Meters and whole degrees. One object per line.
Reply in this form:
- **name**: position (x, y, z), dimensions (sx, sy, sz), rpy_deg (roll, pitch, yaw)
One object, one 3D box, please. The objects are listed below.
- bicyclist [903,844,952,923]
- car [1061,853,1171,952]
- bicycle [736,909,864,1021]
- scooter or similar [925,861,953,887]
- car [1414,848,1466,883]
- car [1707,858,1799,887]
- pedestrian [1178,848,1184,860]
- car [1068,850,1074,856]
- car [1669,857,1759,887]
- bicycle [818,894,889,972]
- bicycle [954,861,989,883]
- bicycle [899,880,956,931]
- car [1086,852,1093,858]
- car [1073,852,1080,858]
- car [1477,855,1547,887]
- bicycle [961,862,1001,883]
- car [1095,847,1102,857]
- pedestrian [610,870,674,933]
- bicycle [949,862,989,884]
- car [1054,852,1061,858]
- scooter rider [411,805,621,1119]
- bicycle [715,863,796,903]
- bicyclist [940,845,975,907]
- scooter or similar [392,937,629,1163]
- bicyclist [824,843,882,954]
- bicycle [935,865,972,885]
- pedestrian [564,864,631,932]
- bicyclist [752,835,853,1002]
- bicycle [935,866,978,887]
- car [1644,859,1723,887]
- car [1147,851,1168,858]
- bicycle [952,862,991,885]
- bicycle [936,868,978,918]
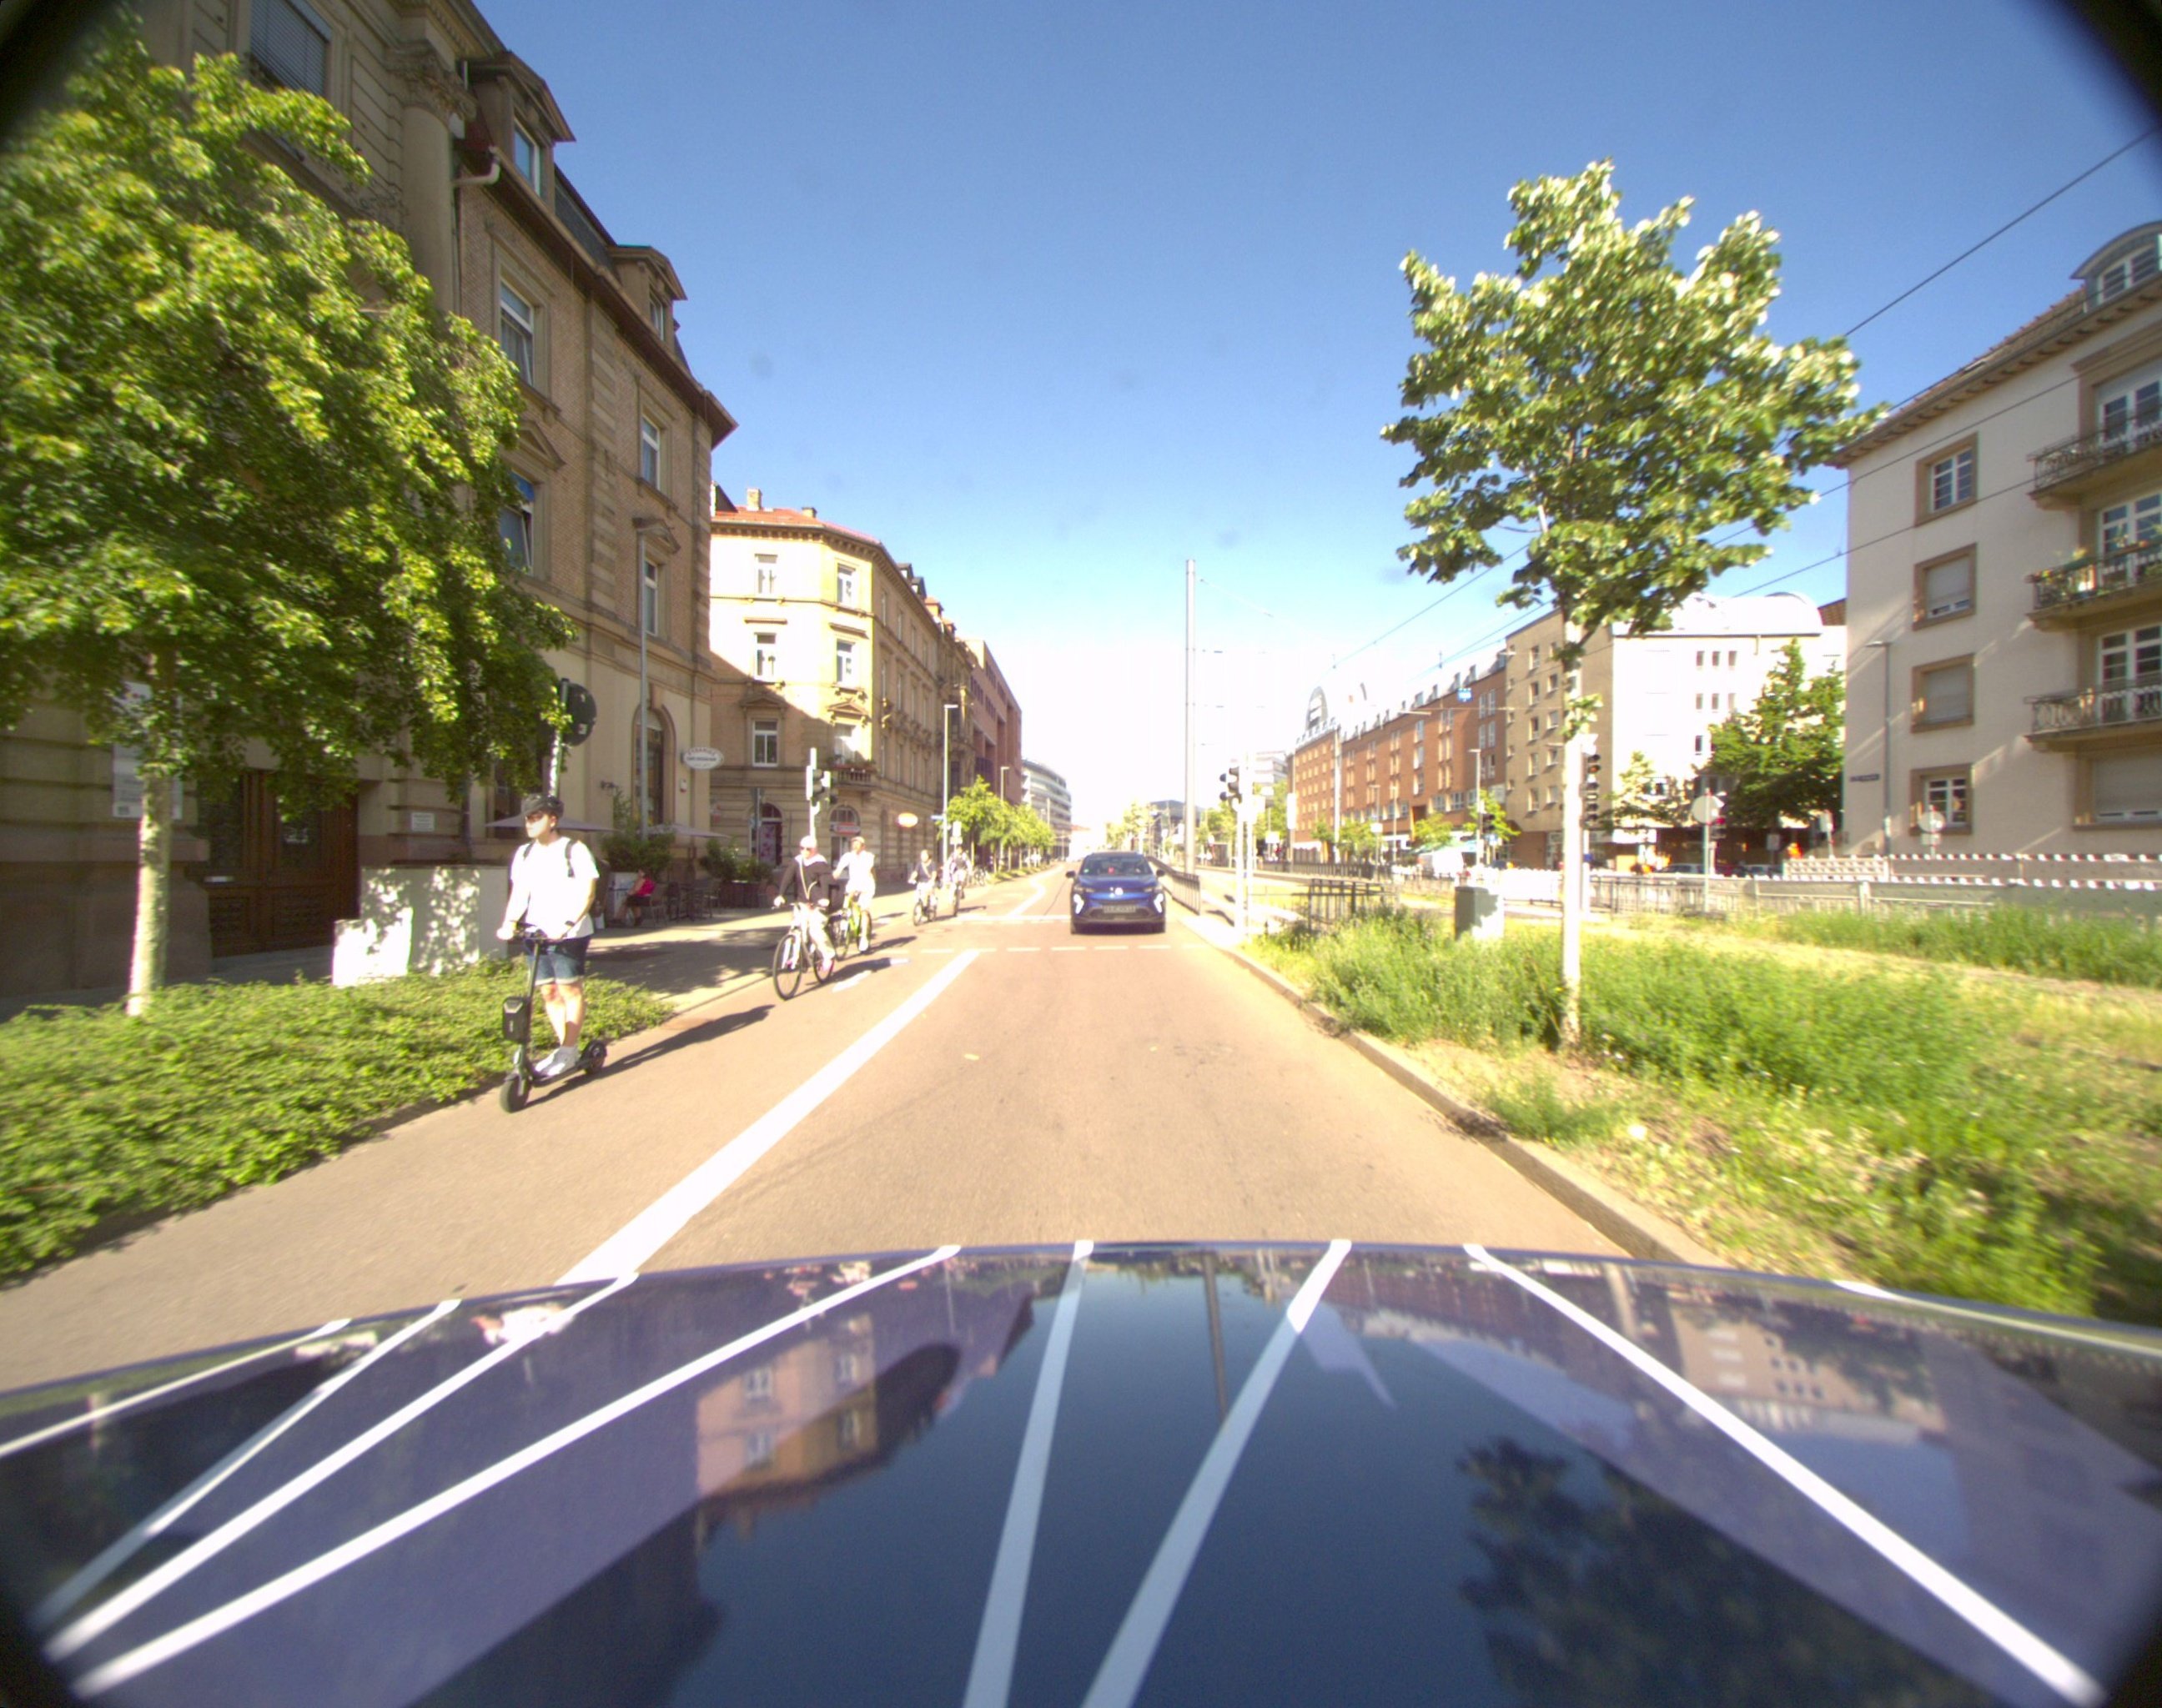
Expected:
- **bicyclist**: position (-3.445, 0.651, 17.171), dimensions (0.854, 1.717, 0.989), rpy_deg (-1, 1, 1)
- **car**: position (0.625, 0.798, 14.845), dimensions (1.758, 1.576, 4.420), rpy_deg (-2, 0, 1)
- **bicycle**: position (-3.185, 1.219, 8.839), dimensions (0.725, 1.000, 1.952), rpy_deg (-1, 0, 0)
- **scooter or similar**: position (-6.469, 0.915, 34.718), dimensions (1.199, 1.191, 0.487), rpy_deg (0, 1, -4)
- **car**: position (25.796, 0.761, 54.727), dimensions (1.997, 2.283, 5.192), rpy_deg (-1, 1, 9)
- **car**: position (38.577, 1.037, 43.757), dimensions (1.715, 1.477, 3.999), rpy_deg (-1, 1, 0)
- **pedestrian**: position (15.533, 0.037, 117.902), dimensions (0.821, 1.878, 0.769), rpy_deg (0, 1, 5)
- **car**: position (-2.834, -0.256, 213.317), dimensions (1.745, 1.543, 4.000), rpy_deg (0, 0, 1)
- **car**: position (36.006, 0.993, 43.343), dimensions (1.473, 1.543, 3.964), rpy_deg (-1, 1, -8)
- **bicycle**: position (-3.521, 1.191, 11.925), dimensions (0.725, 1.000, 1.951), rpy_deg (-1, 0, -7)
- **bicycle**: position (-5.909, 0.958, 41.103), dimensions (1.677, 1.056, 1.134), rpy_deg (4, 1, -1)
- **bicycle**: position (-3.437, 1.135, 17.171), dimensions (0.830, 1.000, 1.952), rpy_deg (-1, 0, 1)
- **car**: position (2.225, 0.149, 195.653), dimensions (1.745, 1.543, 4.000), rpy_deg (0, 0, 1)
- **car**: position (-1.241, 0.191, 197.411), dimensions (1.745, 1.543, 4.000), rpy_deg (0, 0, 1)
- **car**: position (24.634, 0.926, 43.545), dimensions (1.699, 1.630, 3.999), rpy_deg (-1, 1, -1)
- **bicycle**: position (-5.577, 1.025, 42.504), dimensions (2.062, 1.036, 0.847), rpy_deg (3, 1, 0)
- **car**: position (4.174, -0.454, 182.614), dimensions (1.758, 2.472, 4.610), rpy_deg (0, 0, 1)
- **pedestrian**: position (-8.601, 0.919, 14.915), dimensions (0.719, 1.176, 0.881), rpy_deg (0, 1, 0)
- **bicycle**: position (-5.874, 0.989, 39.957), dimensions (1.903, 1.024, 1.030), rpy_deg (2, 1, -2)
- **car**: position (-6.073, 0.267, 198.123), dimensions (1.745, 1.543, 4.000), rpy_deg (0, 0, 0)
- **scooter rider**: position (-3.629, 0.640, 4.965), dimensions (0.663, 1.856, 0.897), rpy_deg (-1, 1, -2)
- **bicycle**: position (-10.334, 0.931, 24.175), dimensions (2.216, 1.224, 0.818), rpy_deg (1, -2, 7)
- **bicyclist**: position (-3.260, 0.566, 20.063), dimensions (0.725, 1.595, 0.895), rpy_deg (-1, 1, 1)
- **scooter or similar**: position (-3.612, 1.189, 4.932), dimensions (0.647, 1.151, 1.150), rpy_deg (-1, 1, -1)
- **bicyclist**: position (-3.518, 0.658, 11.803), dimensions (0.701, 1.647, 0.976), rpy_deg (-1, 1, -9)
- **bicycle**: position (-6.195, 1.006, 36.866), dimensions (1.717, 0.920, 0.497), rpy_deg (0, 1, 1)
- **pedestrian**: position (-9.504, 0.855, 14.969), dimensions (0.727, 1.275, 0.887), rpy_deg (0, 1, 0)
- **bicyclist**: position (-3.196, 0.700, 8.830), dimensions (0.725, 1.807, 1.091), rpy_deg (-1, 1, 0)
- **bicycle**: position (-5.949, 1.051, 36.232), dimensions (1.905, 0.906, 0.592), rpy_deg (2, 2, 9)
- **car**: position (33.833, 1.014, 42.764), dimensions (1.438, 1.420, 3.345), rpy_deg (-1, 1, -12)
- **car**: position (17.022, 0.087, 169.290), dimensions (4.416, 1.546, 1.759), rpy_deg (-1, 1, 2)
- **bicycle**: position (-5.546, 0.984, 38.442), dimensions (1.876, 1.043, 0.608), rpy_deg (3, 1, -4)
- **bicycle**: position (-3.250, 1.005, 20.069), dimensions (0.725, 1.187, 1.952), rpy_deg (-1, 0, 1)
